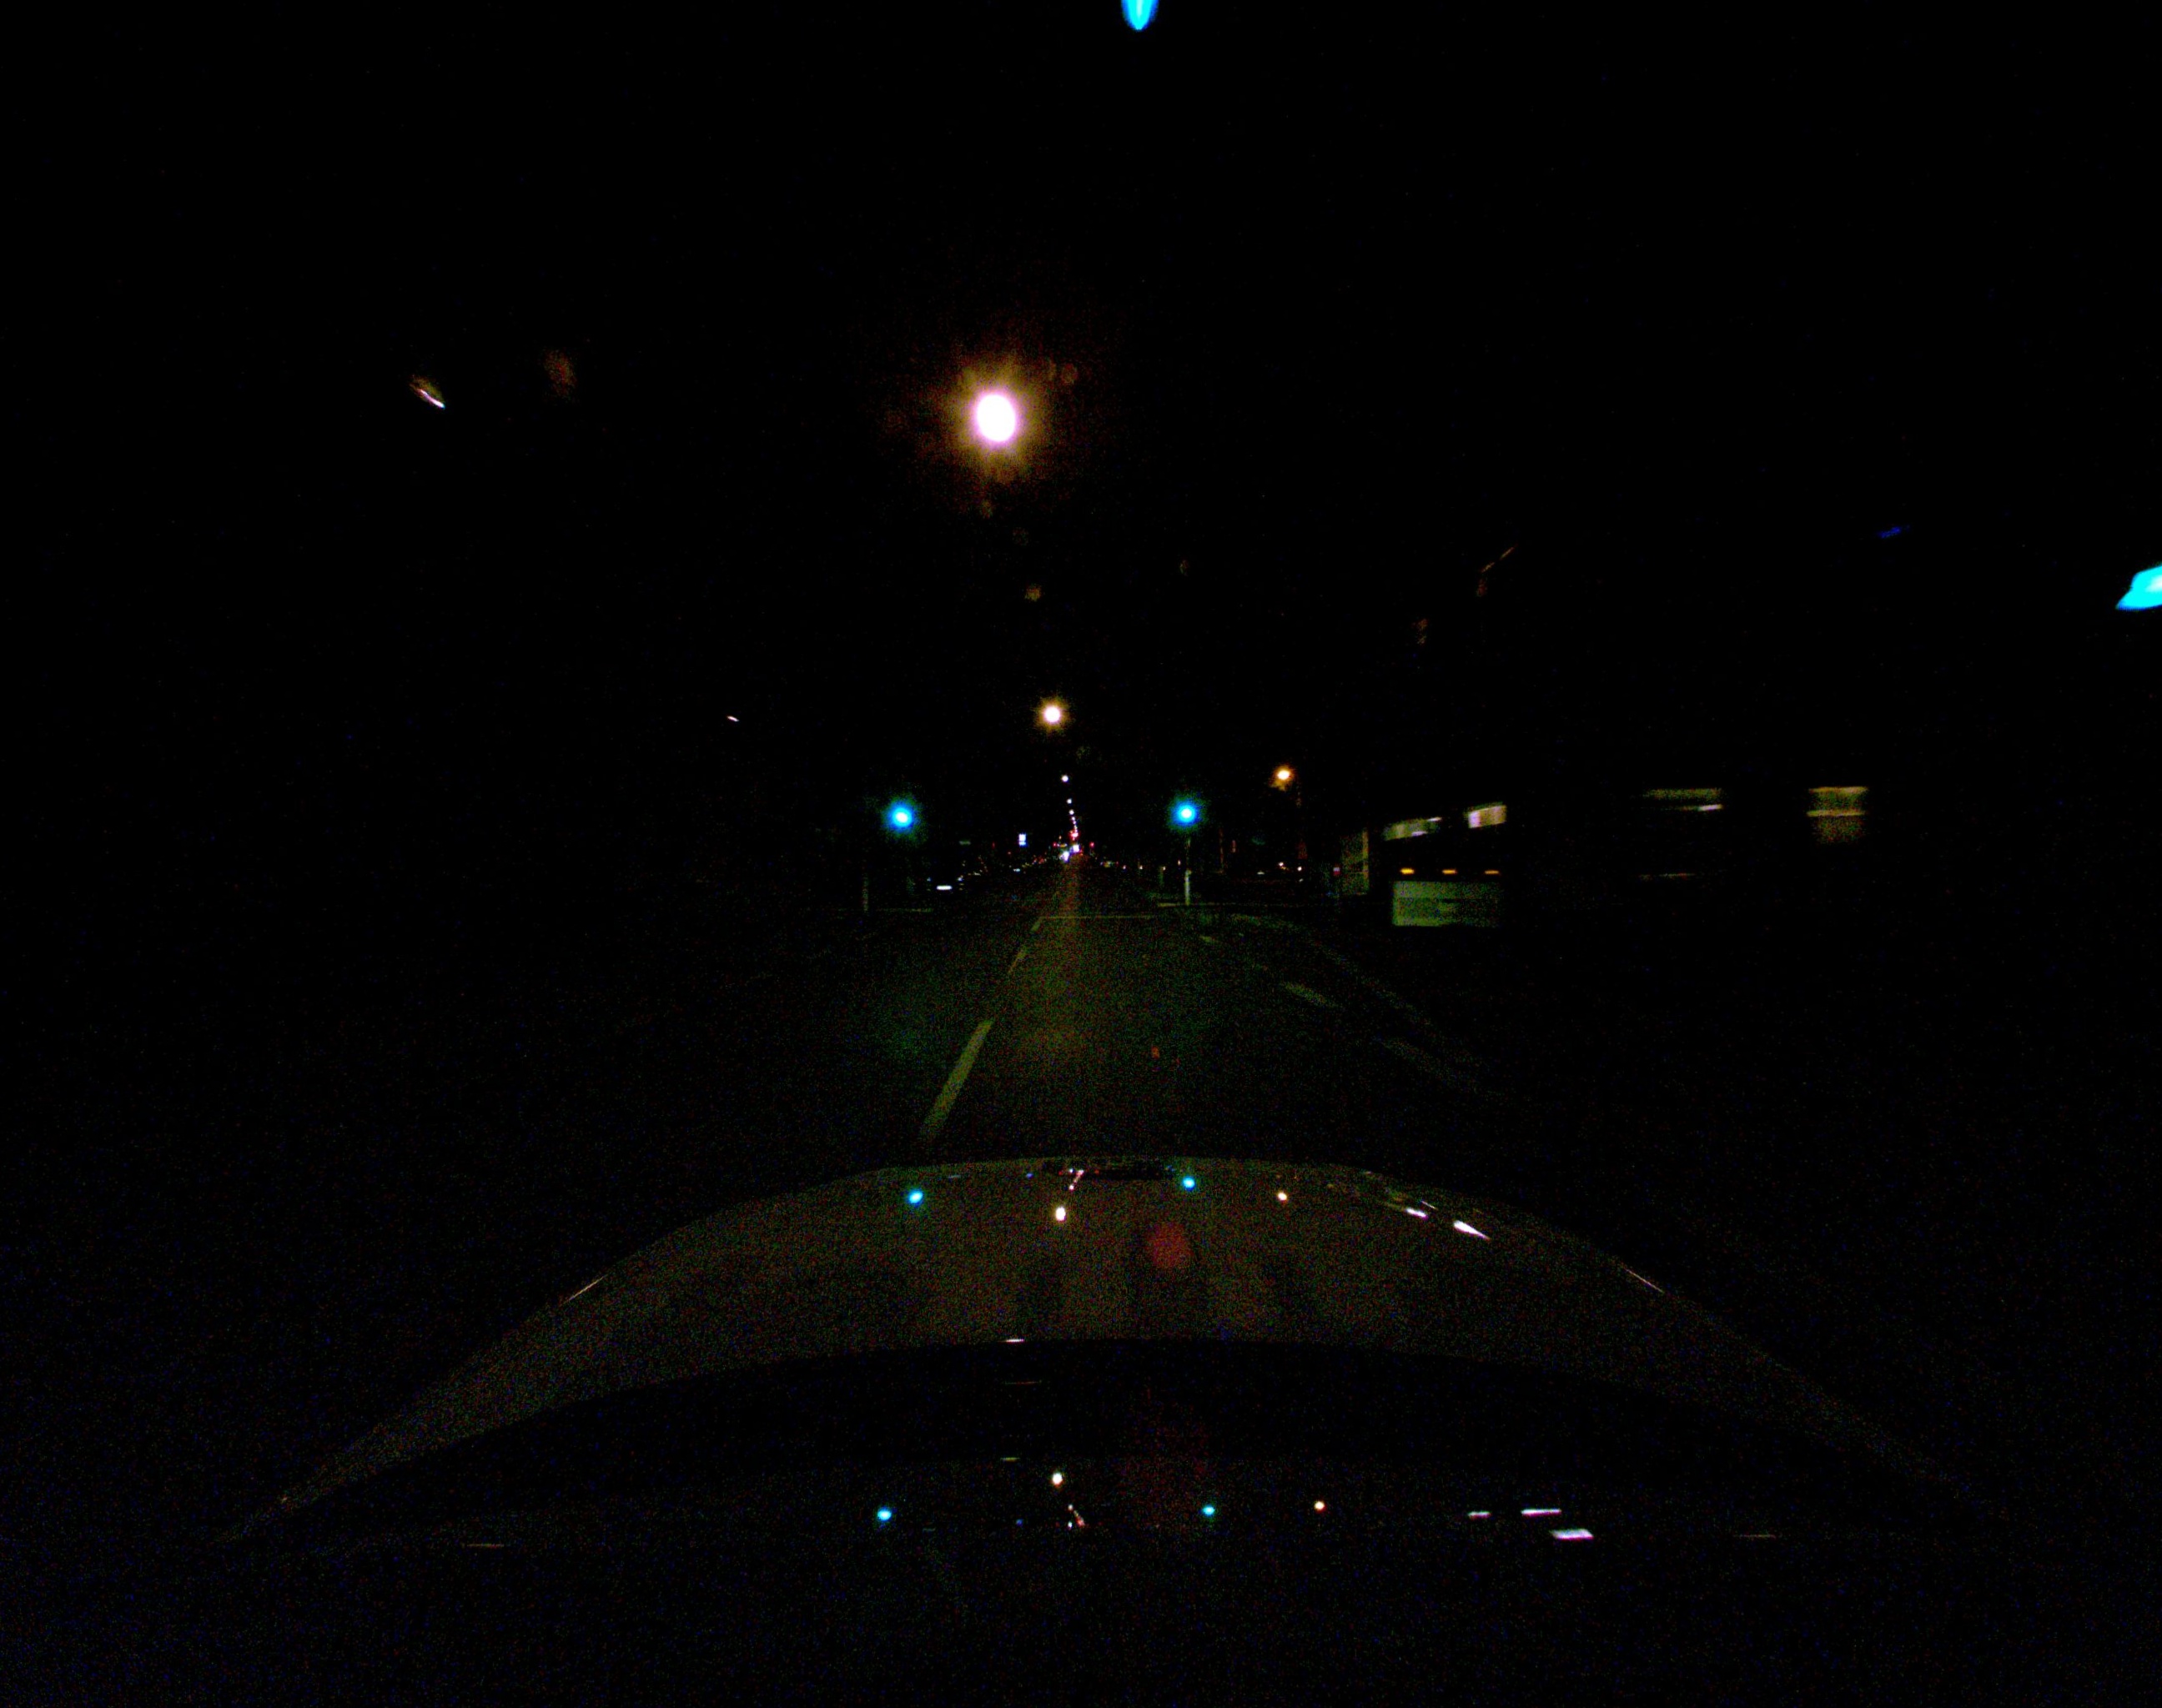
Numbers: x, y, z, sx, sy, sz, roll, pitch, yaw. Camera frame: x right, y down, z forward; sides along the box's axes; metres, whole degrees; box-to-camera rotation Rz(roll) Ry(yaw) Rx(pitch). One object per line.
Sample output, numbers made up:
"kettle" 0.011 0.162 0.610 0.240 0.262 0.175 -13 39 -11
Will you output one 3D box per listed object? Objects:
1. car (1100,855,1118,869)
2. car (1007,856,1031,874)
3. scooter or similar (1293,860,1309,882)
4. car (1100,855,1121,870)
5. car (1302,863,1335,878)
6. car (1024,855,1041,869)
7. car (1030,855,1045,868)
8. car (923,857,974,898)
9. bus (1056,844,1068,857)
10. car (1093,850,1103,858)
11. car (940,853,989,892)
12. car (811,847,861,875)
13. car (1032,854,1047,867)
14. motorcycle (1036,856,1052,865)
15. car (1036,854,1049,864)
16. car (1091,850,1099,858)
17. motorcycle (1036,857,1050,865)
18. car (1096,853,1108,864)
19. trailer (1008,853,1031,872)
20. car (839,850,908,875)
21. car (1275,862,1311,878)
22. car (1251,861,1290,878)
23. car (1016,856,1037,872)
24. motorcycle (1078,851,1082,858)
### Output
"car" 3.006 0.865 88.626 1.765 1.448 4.018 -1 0 -1
"car" -5.269 0.959 69.874 1.809 1.484 4.345 0 0 -2
"scooter or similar" 11.631 0.891 43.019 0.494 1.146 1.676 -3 -2 24
"car" 2.972 0.896 83.369 1.839 1.417 4.643 -3 0 -1
"car" 22.756 1.585 77.896 1.752 1.341 3.944 0 -1 37
"car" -5.594 0.906 94.319 1.858 1.491 4.278 1 -1 -1
"car" -5.284 0.886 98.866 1.617 1.491 3.779 1 -1 -1
"car" -5.210 0.892 32.408 1.644 1.514 3.697 1 -1 -4
"bus" -4.619 -0.881 201.214 2.828 3.177 10.497 1 1 0
"car" 3.528 0.073 170.742 1.806 1.594 4.273 -2 1 0
"car" -5.365 0.826 37.928 1.844 1.650 4.666 1 0 -4
"car" -14.663 0.397 48.998 1.751 1.538 4.185 3 -1 -1
"car" -5.385 0.839 106.602 1.699 1.491 4.226 -2 1 -1
"motorcycle" -5.105 0.885 112.866 2.180 1.131 0.720 0 1 32
"car" -5.625 0.704 118.560 1.632 1.498 2.766 0 -1 1
"car" 3.138 0.017 184.121 1.863 1.526 4.149 -2 1 0
"motorcycle" -5.156 0.931 110.847 0.720 1.147 2.182 -1 1 -43
"car" 3.129 0.635 121.954 1.757 1.476 4.080 -2 1 0
"trailer" -5.612 0.796 74.598 1.630 1.640 3.443 0 -1 4
"car" -13.647 0.563 53.726 3.963 1.425 1.766 2 0 9
"car" 19.056 1.447 73.085 1.779 1.417 3.862 0 -1 37
"car" 15.944 1.310 68.539 1.779 1.417 3.862 0 -1 37
"car" -5.364 0.940 80.557 1.830 1.446 4.542 -1 0 -1
"motorcycle" -0.146 0.134 187.725 0.928 1.752 2.624 1 -1 0
